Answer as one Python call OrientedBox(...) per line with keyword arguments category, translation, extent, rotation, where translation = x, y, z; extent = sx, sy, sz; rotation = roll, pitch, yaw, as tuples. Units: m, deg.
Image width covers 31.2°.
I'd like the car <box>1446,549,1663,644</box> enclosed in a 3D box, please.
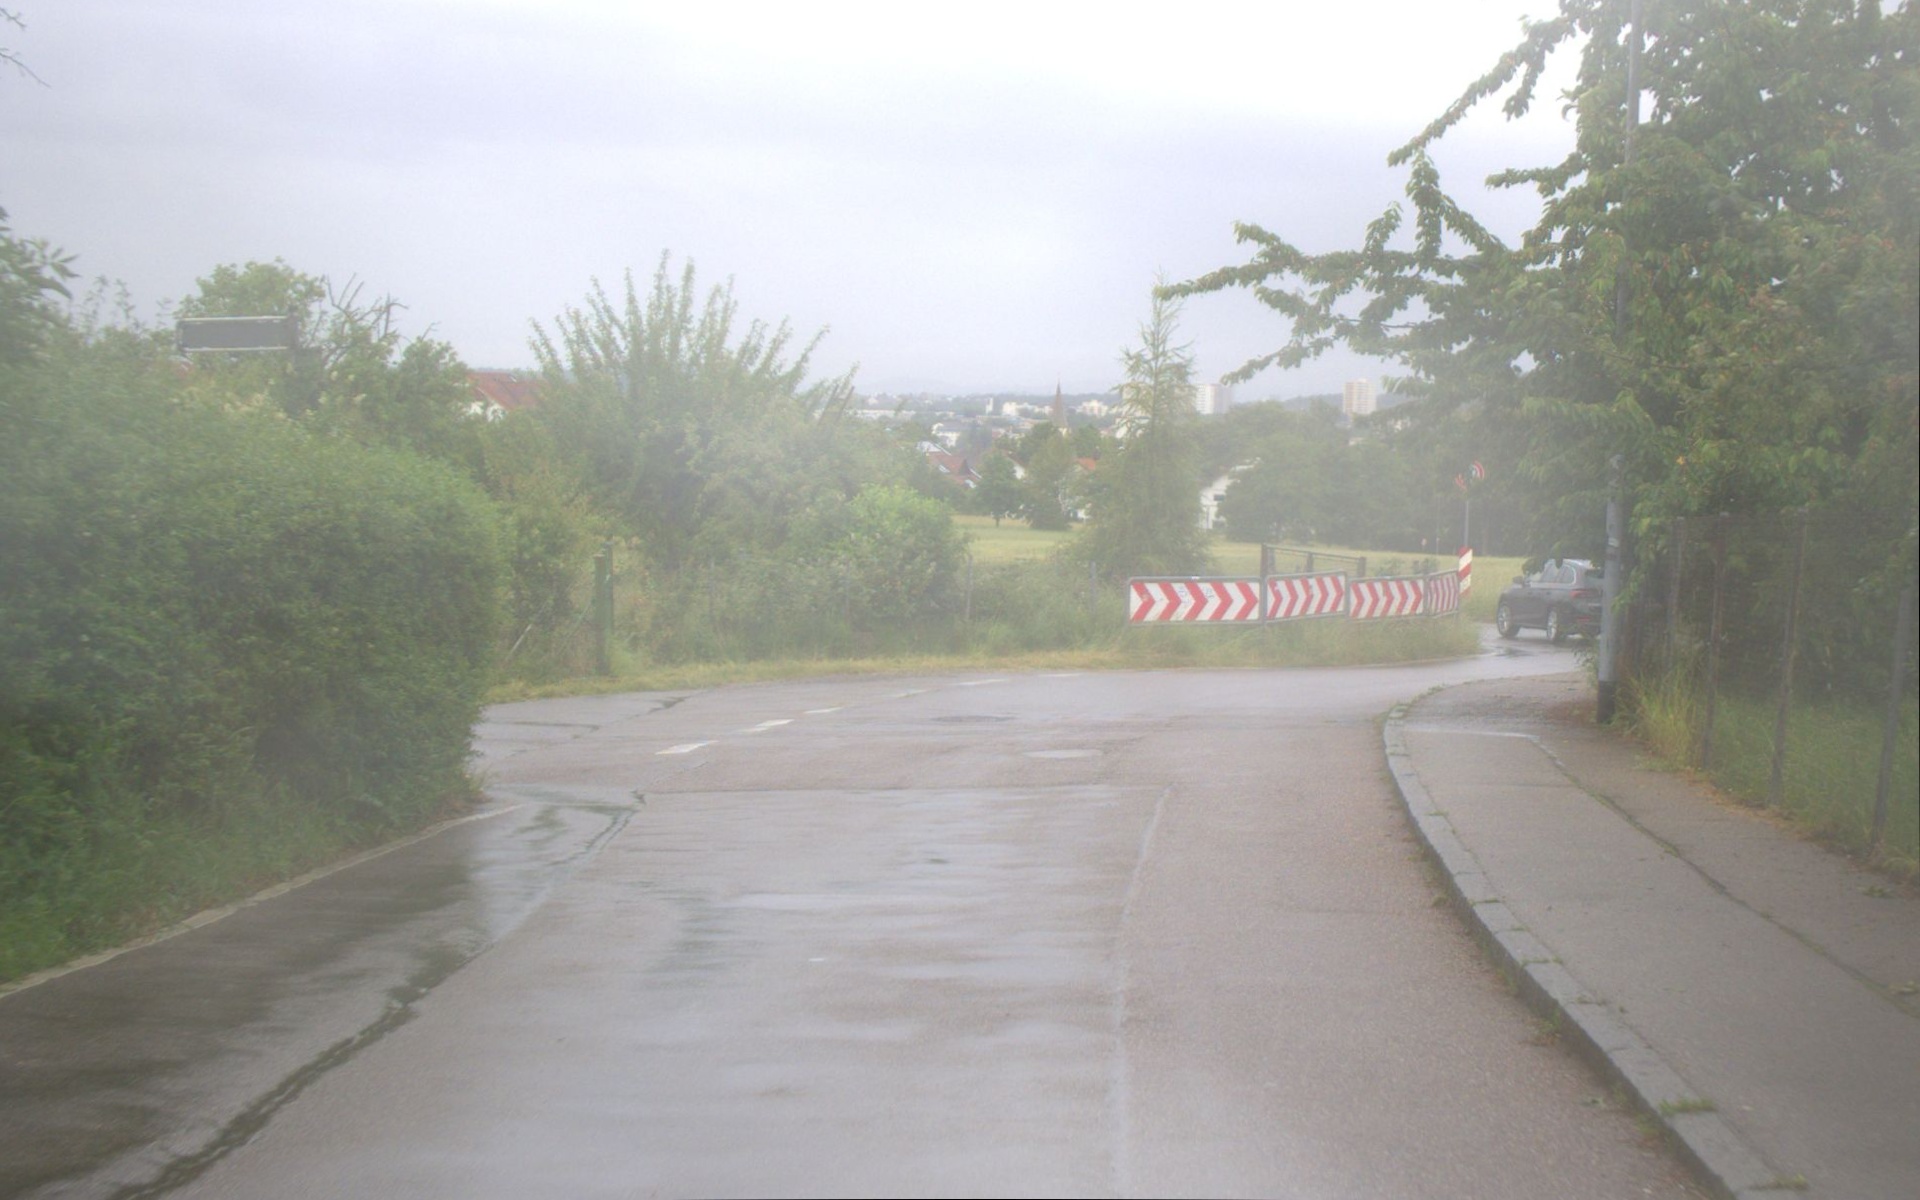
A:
OrientedBox(category="car", translation=(10.381, -0.077, 60.320), extent=(1.814, 1.588, 4.001), rotation=(1, 1, -24))
